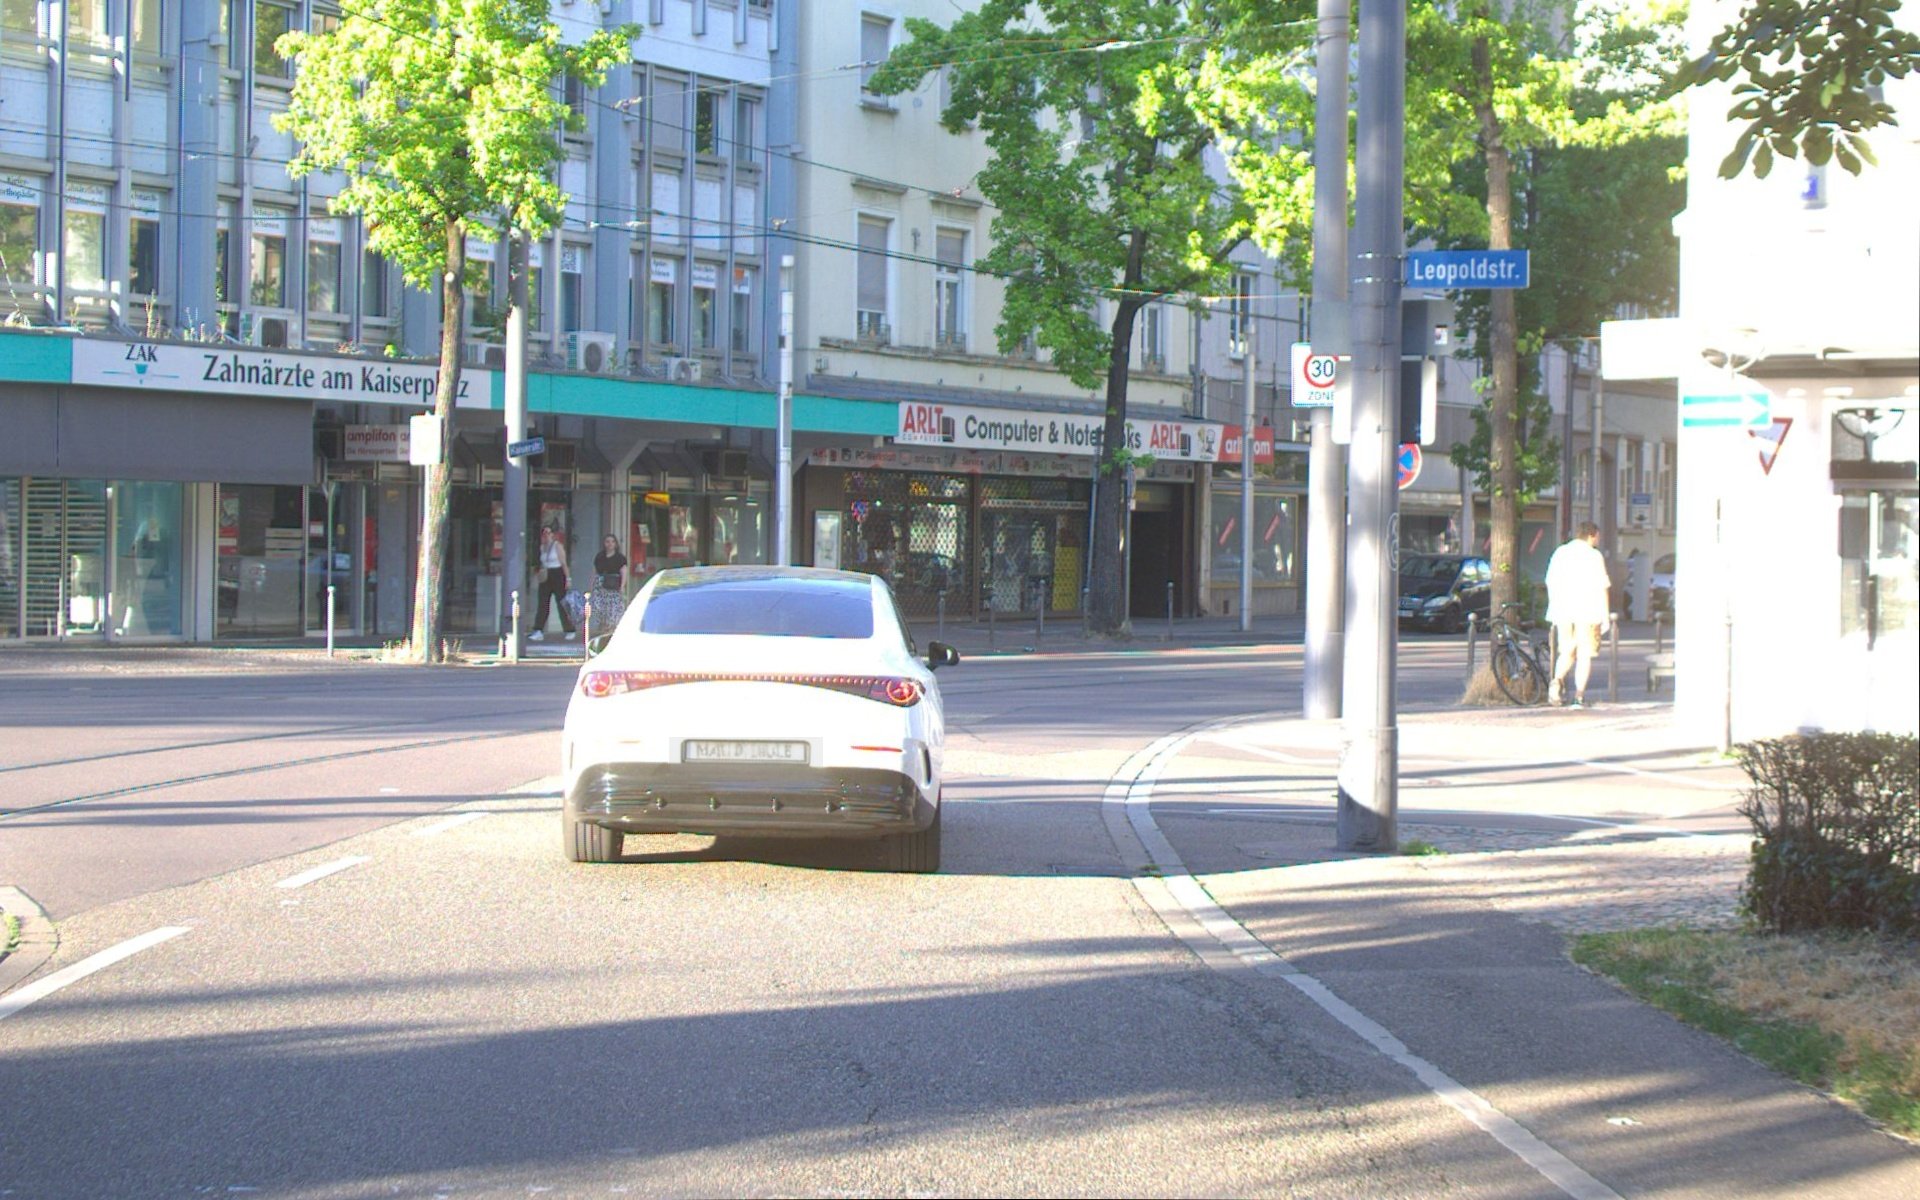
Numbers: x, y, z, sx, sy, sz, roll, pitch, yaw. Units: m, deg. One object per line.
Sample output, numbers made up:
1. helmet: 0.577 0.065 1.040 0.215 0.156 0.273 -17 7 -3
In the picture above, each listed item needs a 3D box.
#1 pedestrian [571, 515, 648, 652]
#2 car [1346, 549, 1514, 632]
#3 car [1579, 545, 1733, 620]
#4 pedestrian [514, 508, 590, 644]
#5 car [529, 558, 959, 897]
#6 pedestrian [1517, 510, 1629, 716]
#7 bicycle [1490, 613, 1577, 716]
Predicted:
1. pedestrian: -5.237 -0.244 51.365 0.798 2.007 0.733 2 0 33
2. car: 9.902 -0.205 72.219 1.965 1.634 3.992 2 1 33
3. car: 16.810 -0.428 82.845 1.966 1.634 4.803 5 3 32
4. pedestrian: -6.125 -0.359 51.633 0.798 2.007 0.733 2 0 33
5. car: -0.986 0.557 17.657 1.868 1.464 4.042 2 1 1
6. pedestrian: 6.119 0.123 34.286 0.842 2.007 0.845 2 0 26
7. bicycle: 6.152 0.679 36.820 0.355 1.073 1.696 2 1 29
